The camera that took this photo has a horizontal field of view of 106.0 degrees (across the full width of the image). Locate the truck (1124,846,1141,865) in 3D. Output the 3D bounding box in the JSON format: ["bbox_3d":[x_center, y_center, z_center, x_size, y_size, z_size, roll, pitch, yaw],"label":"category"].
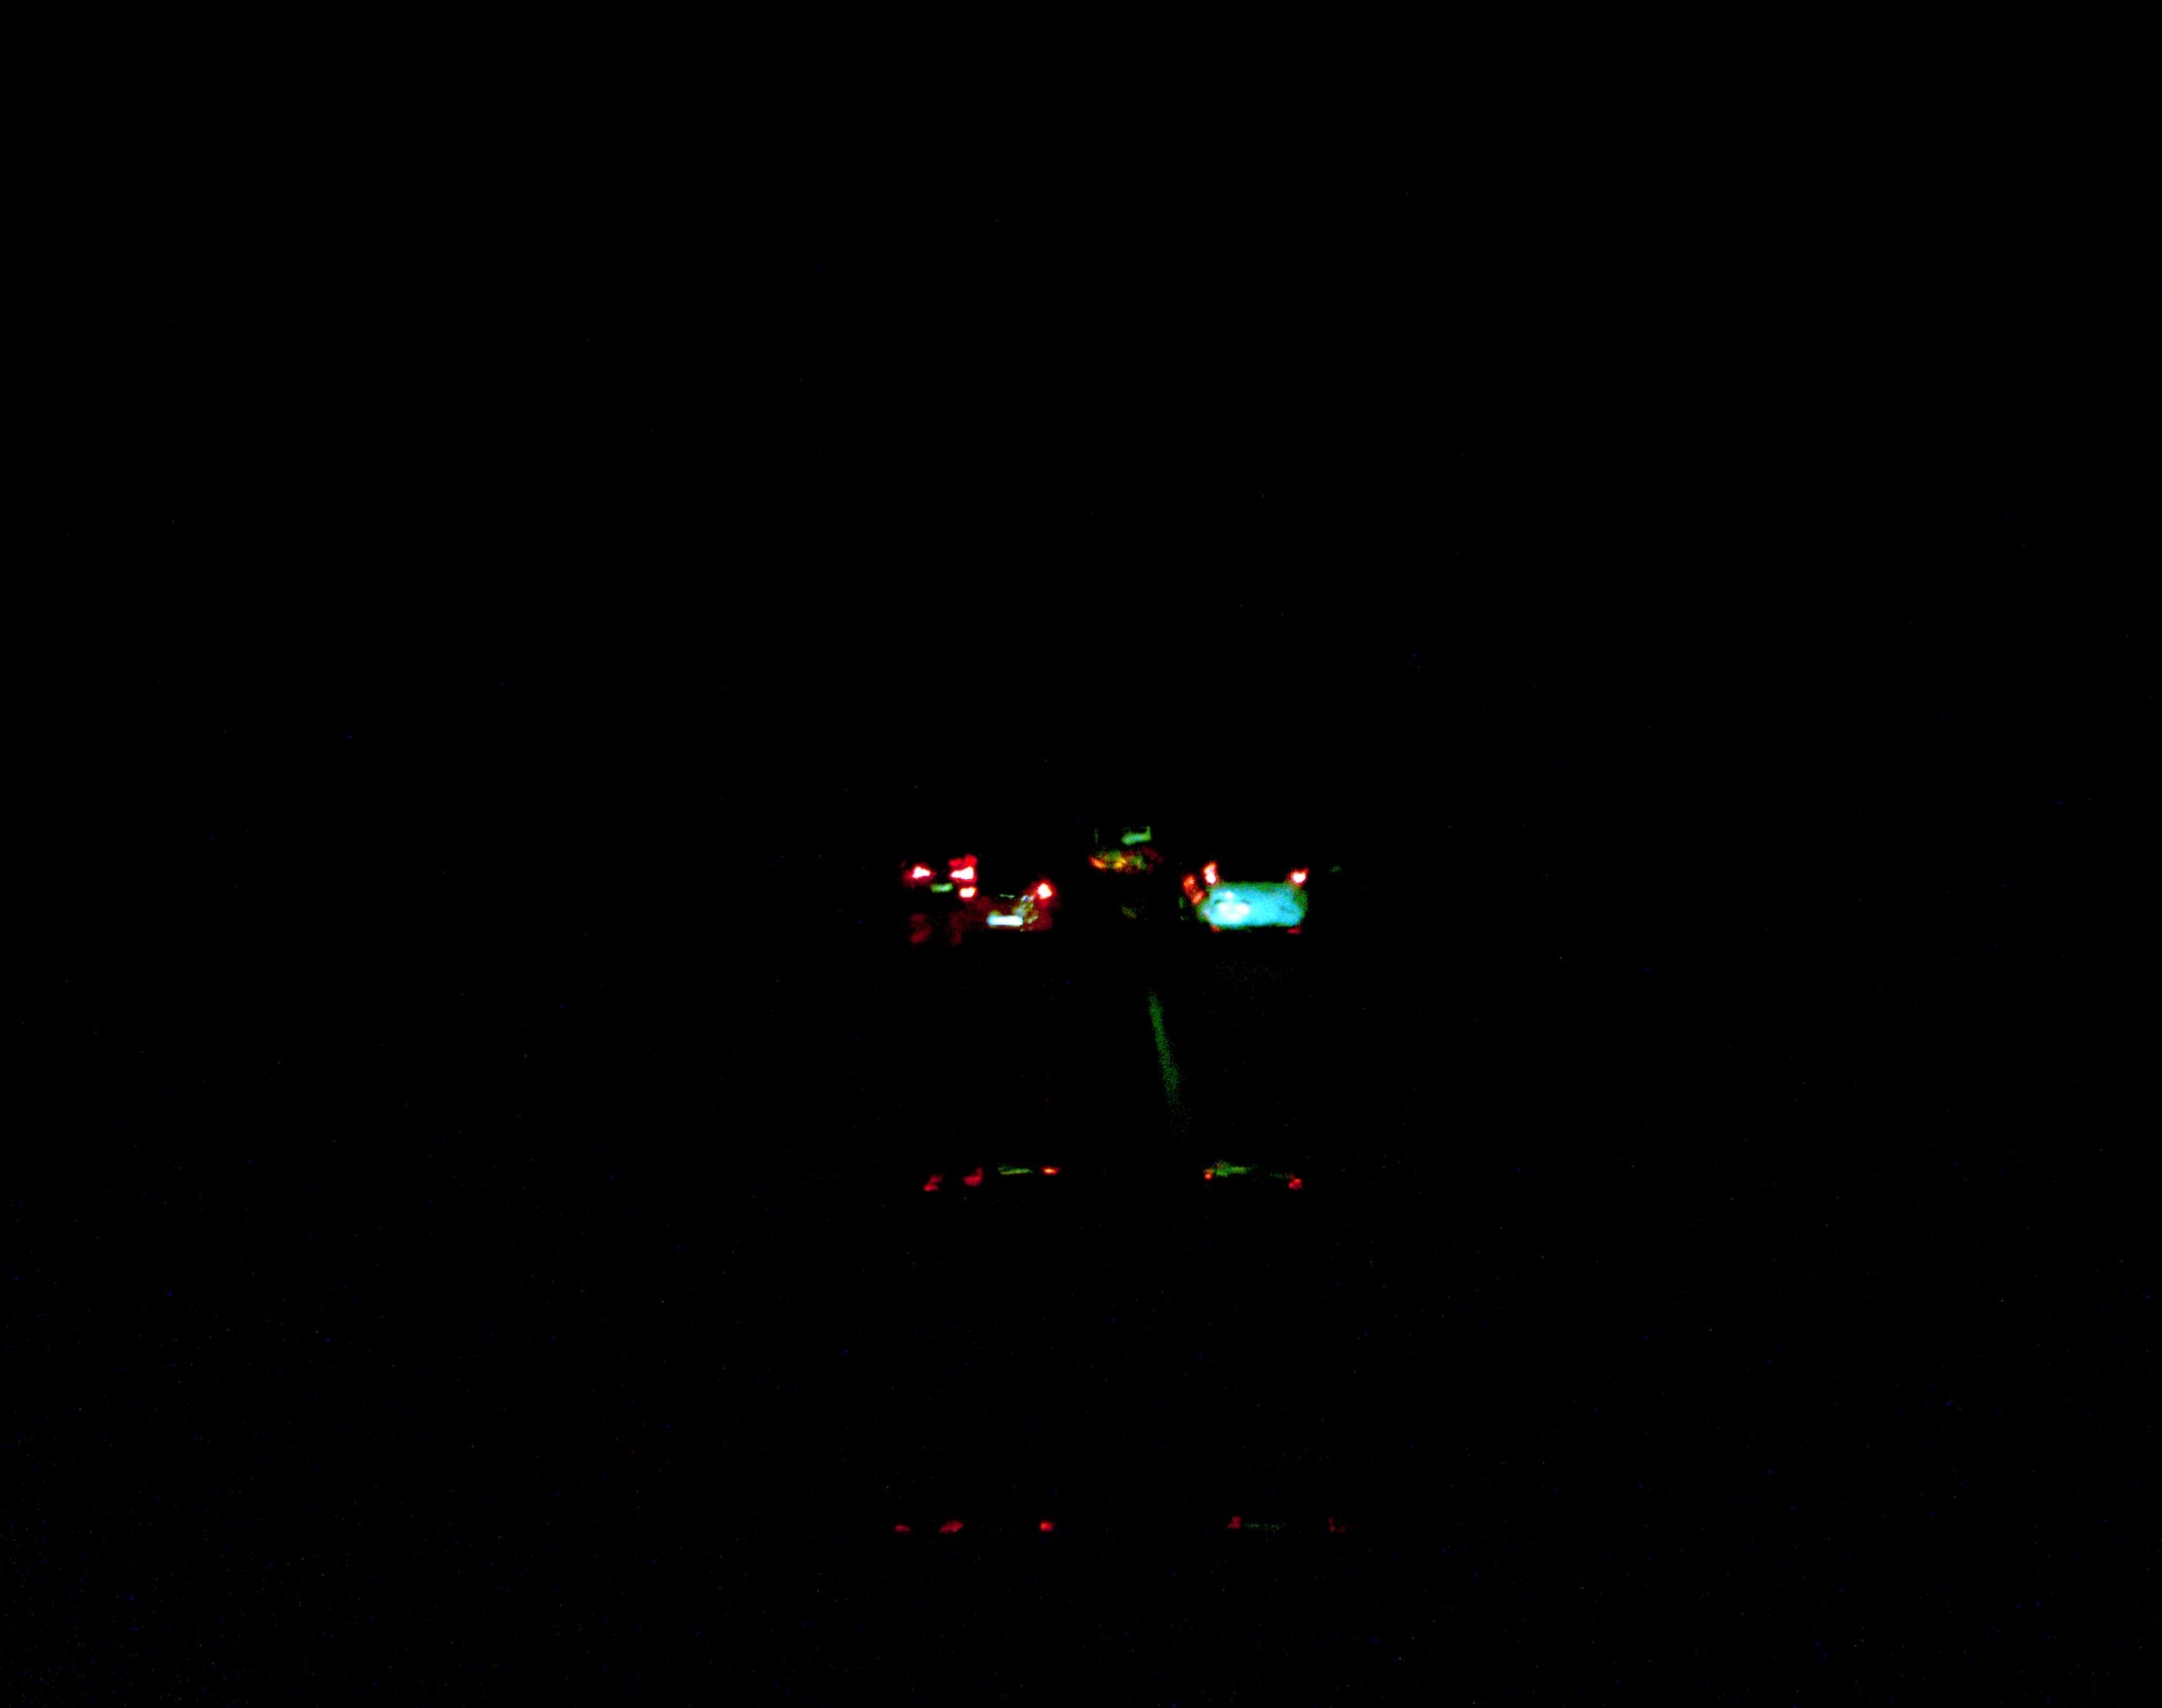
[{"bbox_3d":[13.611,0.441,216.476,3.809,4.915,11.610,-3,-1,2],"label":"truck"}]

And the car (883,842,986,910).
[{"bbox_3d":[-4.327,0.641,24.935,1.985,1.777,4.890,-2,-1,3],"label":"car"}]

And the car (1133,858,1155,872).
[{"bbox_3d":[6.018,1.036,78.059,1.883,1.354,4.001,1,0,1],"label":"car"}]

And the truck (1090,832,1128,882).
[{"bbox_3d":[3.495,0.455,100.072,4.151,5.544,13.079,-2,-1,2],"label":"truck"}]

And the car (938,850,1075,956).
[{"bbox_3d":[-1.193,0.799,14.990,1.908,1.594,4.235,-2,-1,2],"label":"car"}]

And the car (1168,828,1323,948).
[{"bbox_3d":[2.843,0.568,15.310,1.946,1.792,5.125,-2,-1,2],"label":"car"}]
